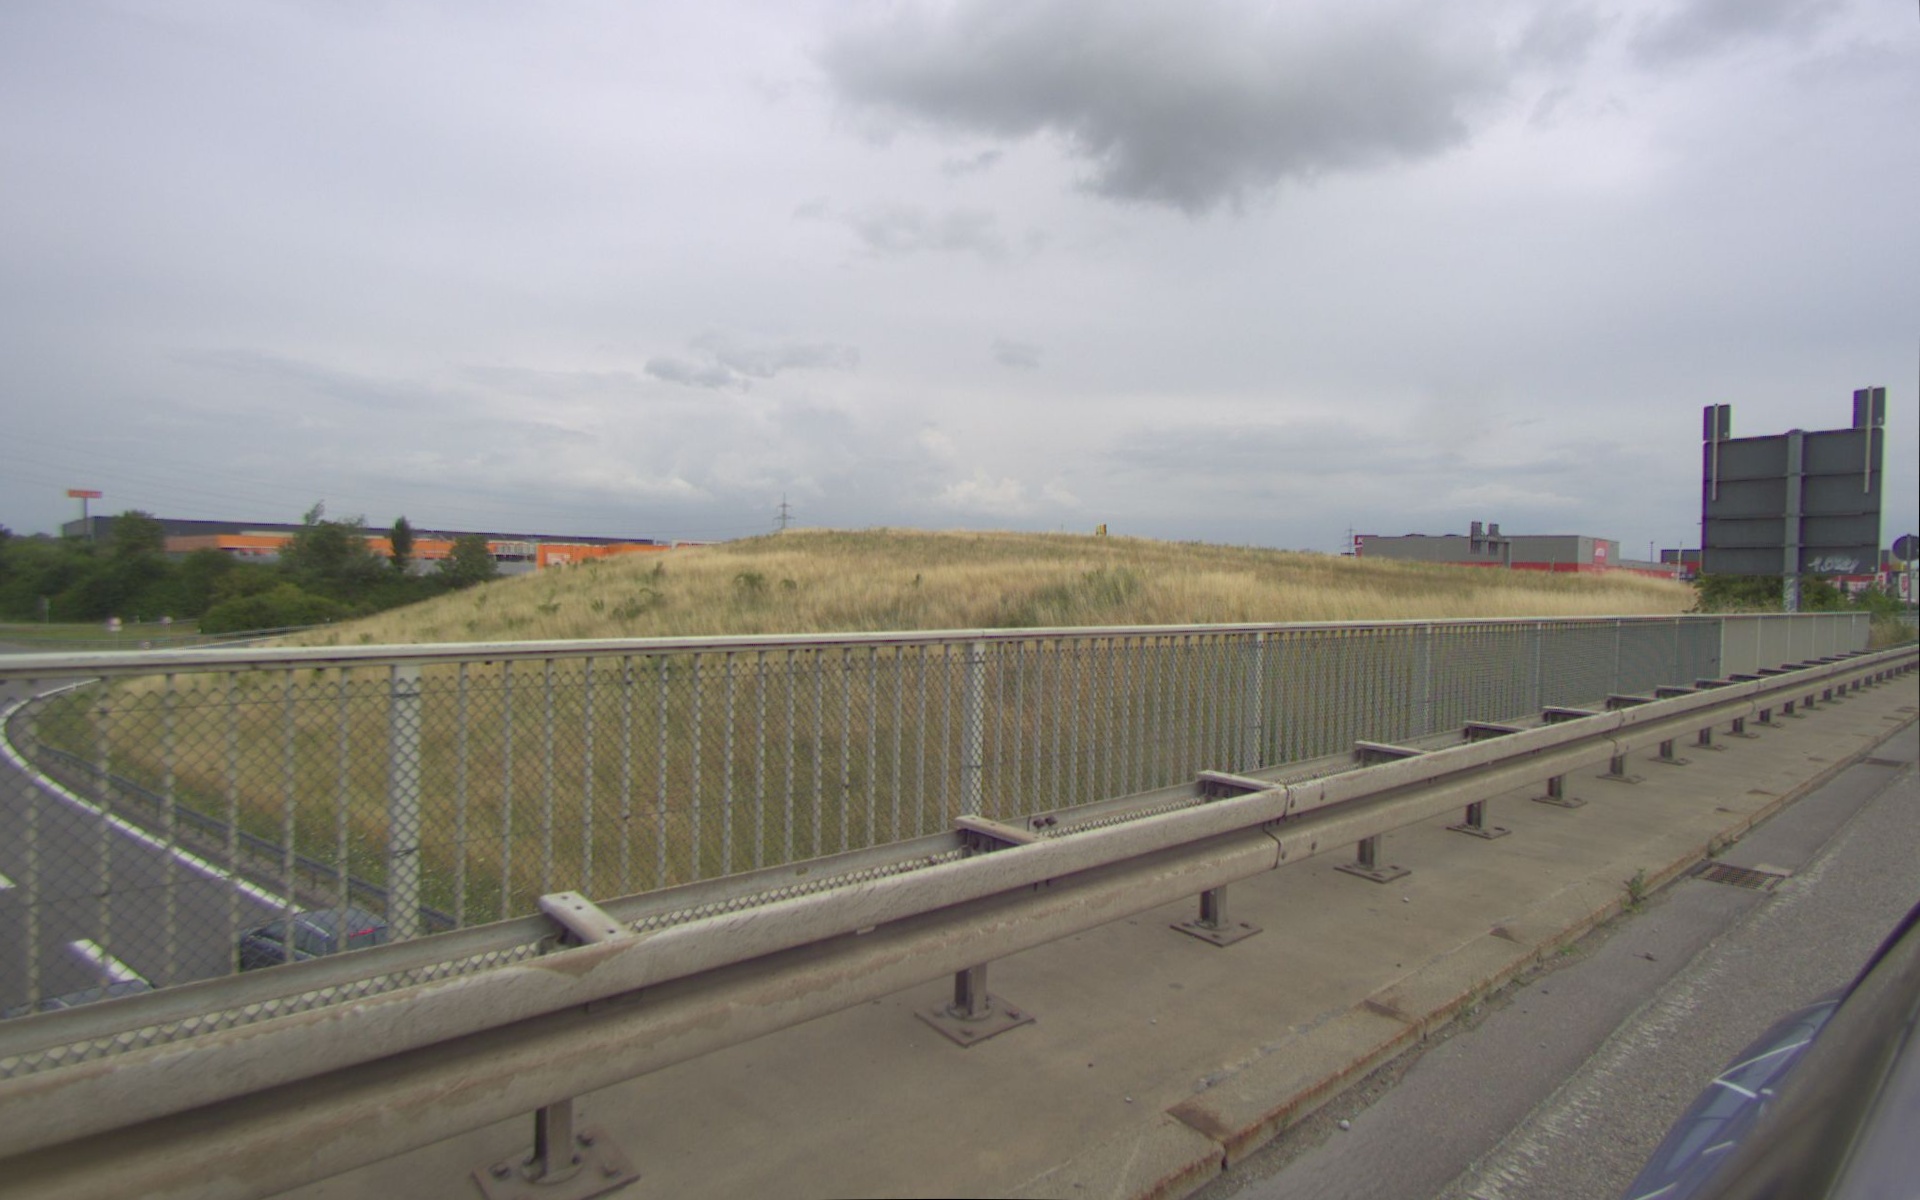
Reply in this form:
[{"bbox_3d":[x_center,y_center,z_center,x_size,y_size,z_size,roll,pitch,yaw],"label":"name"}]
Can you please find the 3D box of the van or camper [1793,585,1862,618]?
[{"bbox_3d":[64.249,0.090,74.936,5.429,2.394,2.056,0,1,-29],"label":"van or camper"}]
